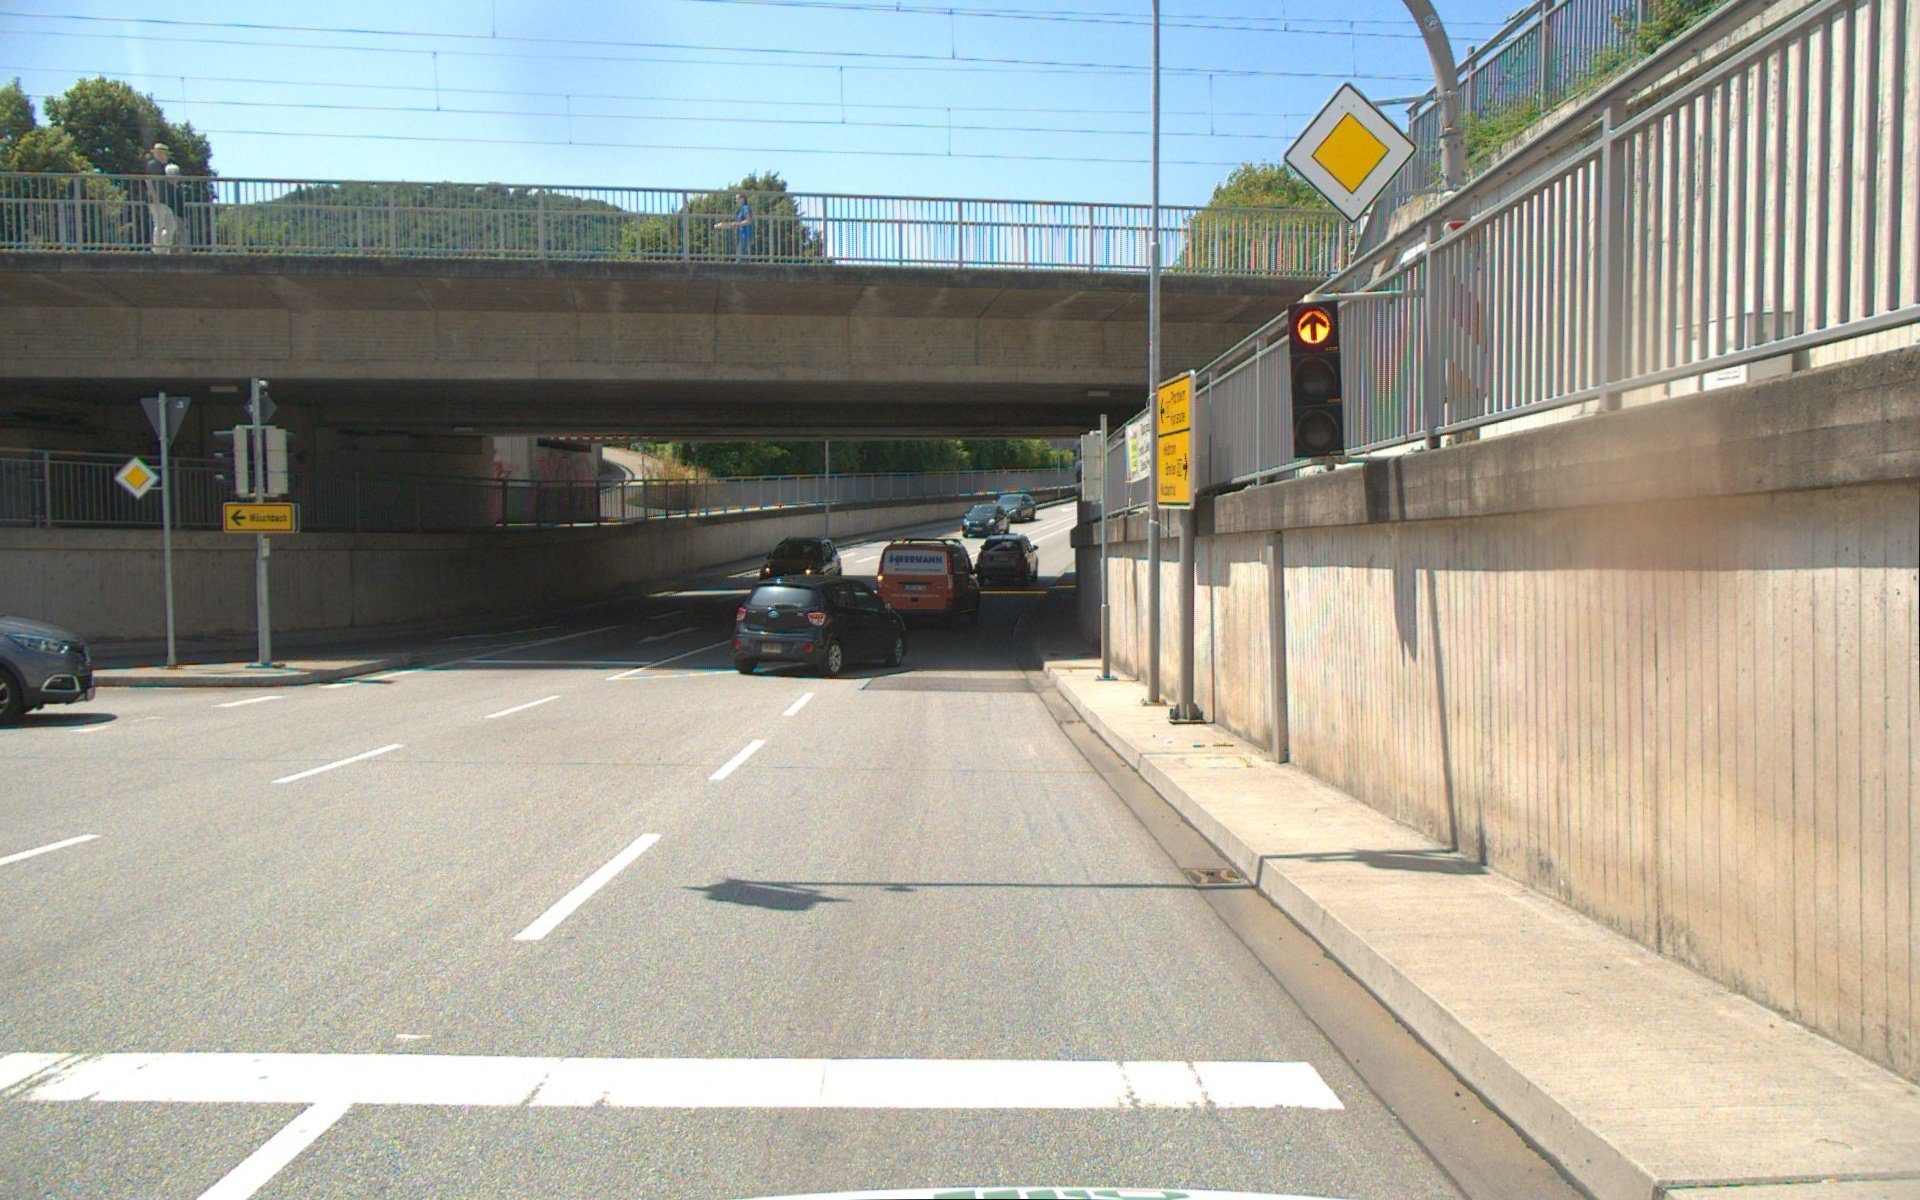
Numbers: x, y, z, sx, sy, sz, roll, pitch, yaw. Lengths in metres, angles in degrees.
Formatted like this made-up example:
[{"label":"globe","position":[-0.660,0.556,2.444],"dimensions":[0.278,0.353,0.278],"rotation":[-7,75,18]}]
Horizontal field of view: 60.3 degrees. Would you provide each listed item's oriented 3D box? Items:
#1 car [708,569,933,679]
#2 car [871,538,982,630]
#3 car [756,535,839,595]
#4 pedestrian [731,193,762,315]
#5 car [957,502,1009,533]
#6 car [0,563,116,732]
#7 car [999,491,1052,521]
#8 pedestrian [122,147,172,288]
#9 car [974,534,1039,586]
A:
[{"label":"car","position":[-2.131,0.317,26.441],"dimensions":[1.953,1.534,3.999],"rotation":[1,2,23]},{"label":"car","position":[-0.703,-0.443,38.799],"dimensions":[1.833,1.965,4.724],"rotation":[0,3,8]},{"label":"car","position":[-4.723,-1.058,48.571],"dimensions":[1.952,1.655,4.002],"rotation":[0,3,2]},{"label":"pedestrian","position":[-3.891,-6.296,30.144],"dimensions":[0.529,2.117,0.534],"rotation":[-1,0,-8]},{"label":"car","position":[1.127,-3.948,79.669],"dimensions":[1.744,1.461,4.005],"rotation":[1,3,12]},{"label":"car","position":[-10.943,0.463,16.765],"dimensions":[3.924,1.616,1.991],"rotation":[-1,3,-18]},{"label":"car","position":[3.604,-5.113,90.264],"dimensions":[1.952,1.616,4.003],"rotation":[1,3,17]},{"label":"pedestrian","position":[-12.925,-6.070,26.304],"dimensions":[0.566,2.117,0.534],"rotation":[-1,0,-11]},{"label":"car","position":[1.600,-1.369,55.308],"dimensions":[1.766,1.646,4.004],"rotation":[1,2,8]}]
